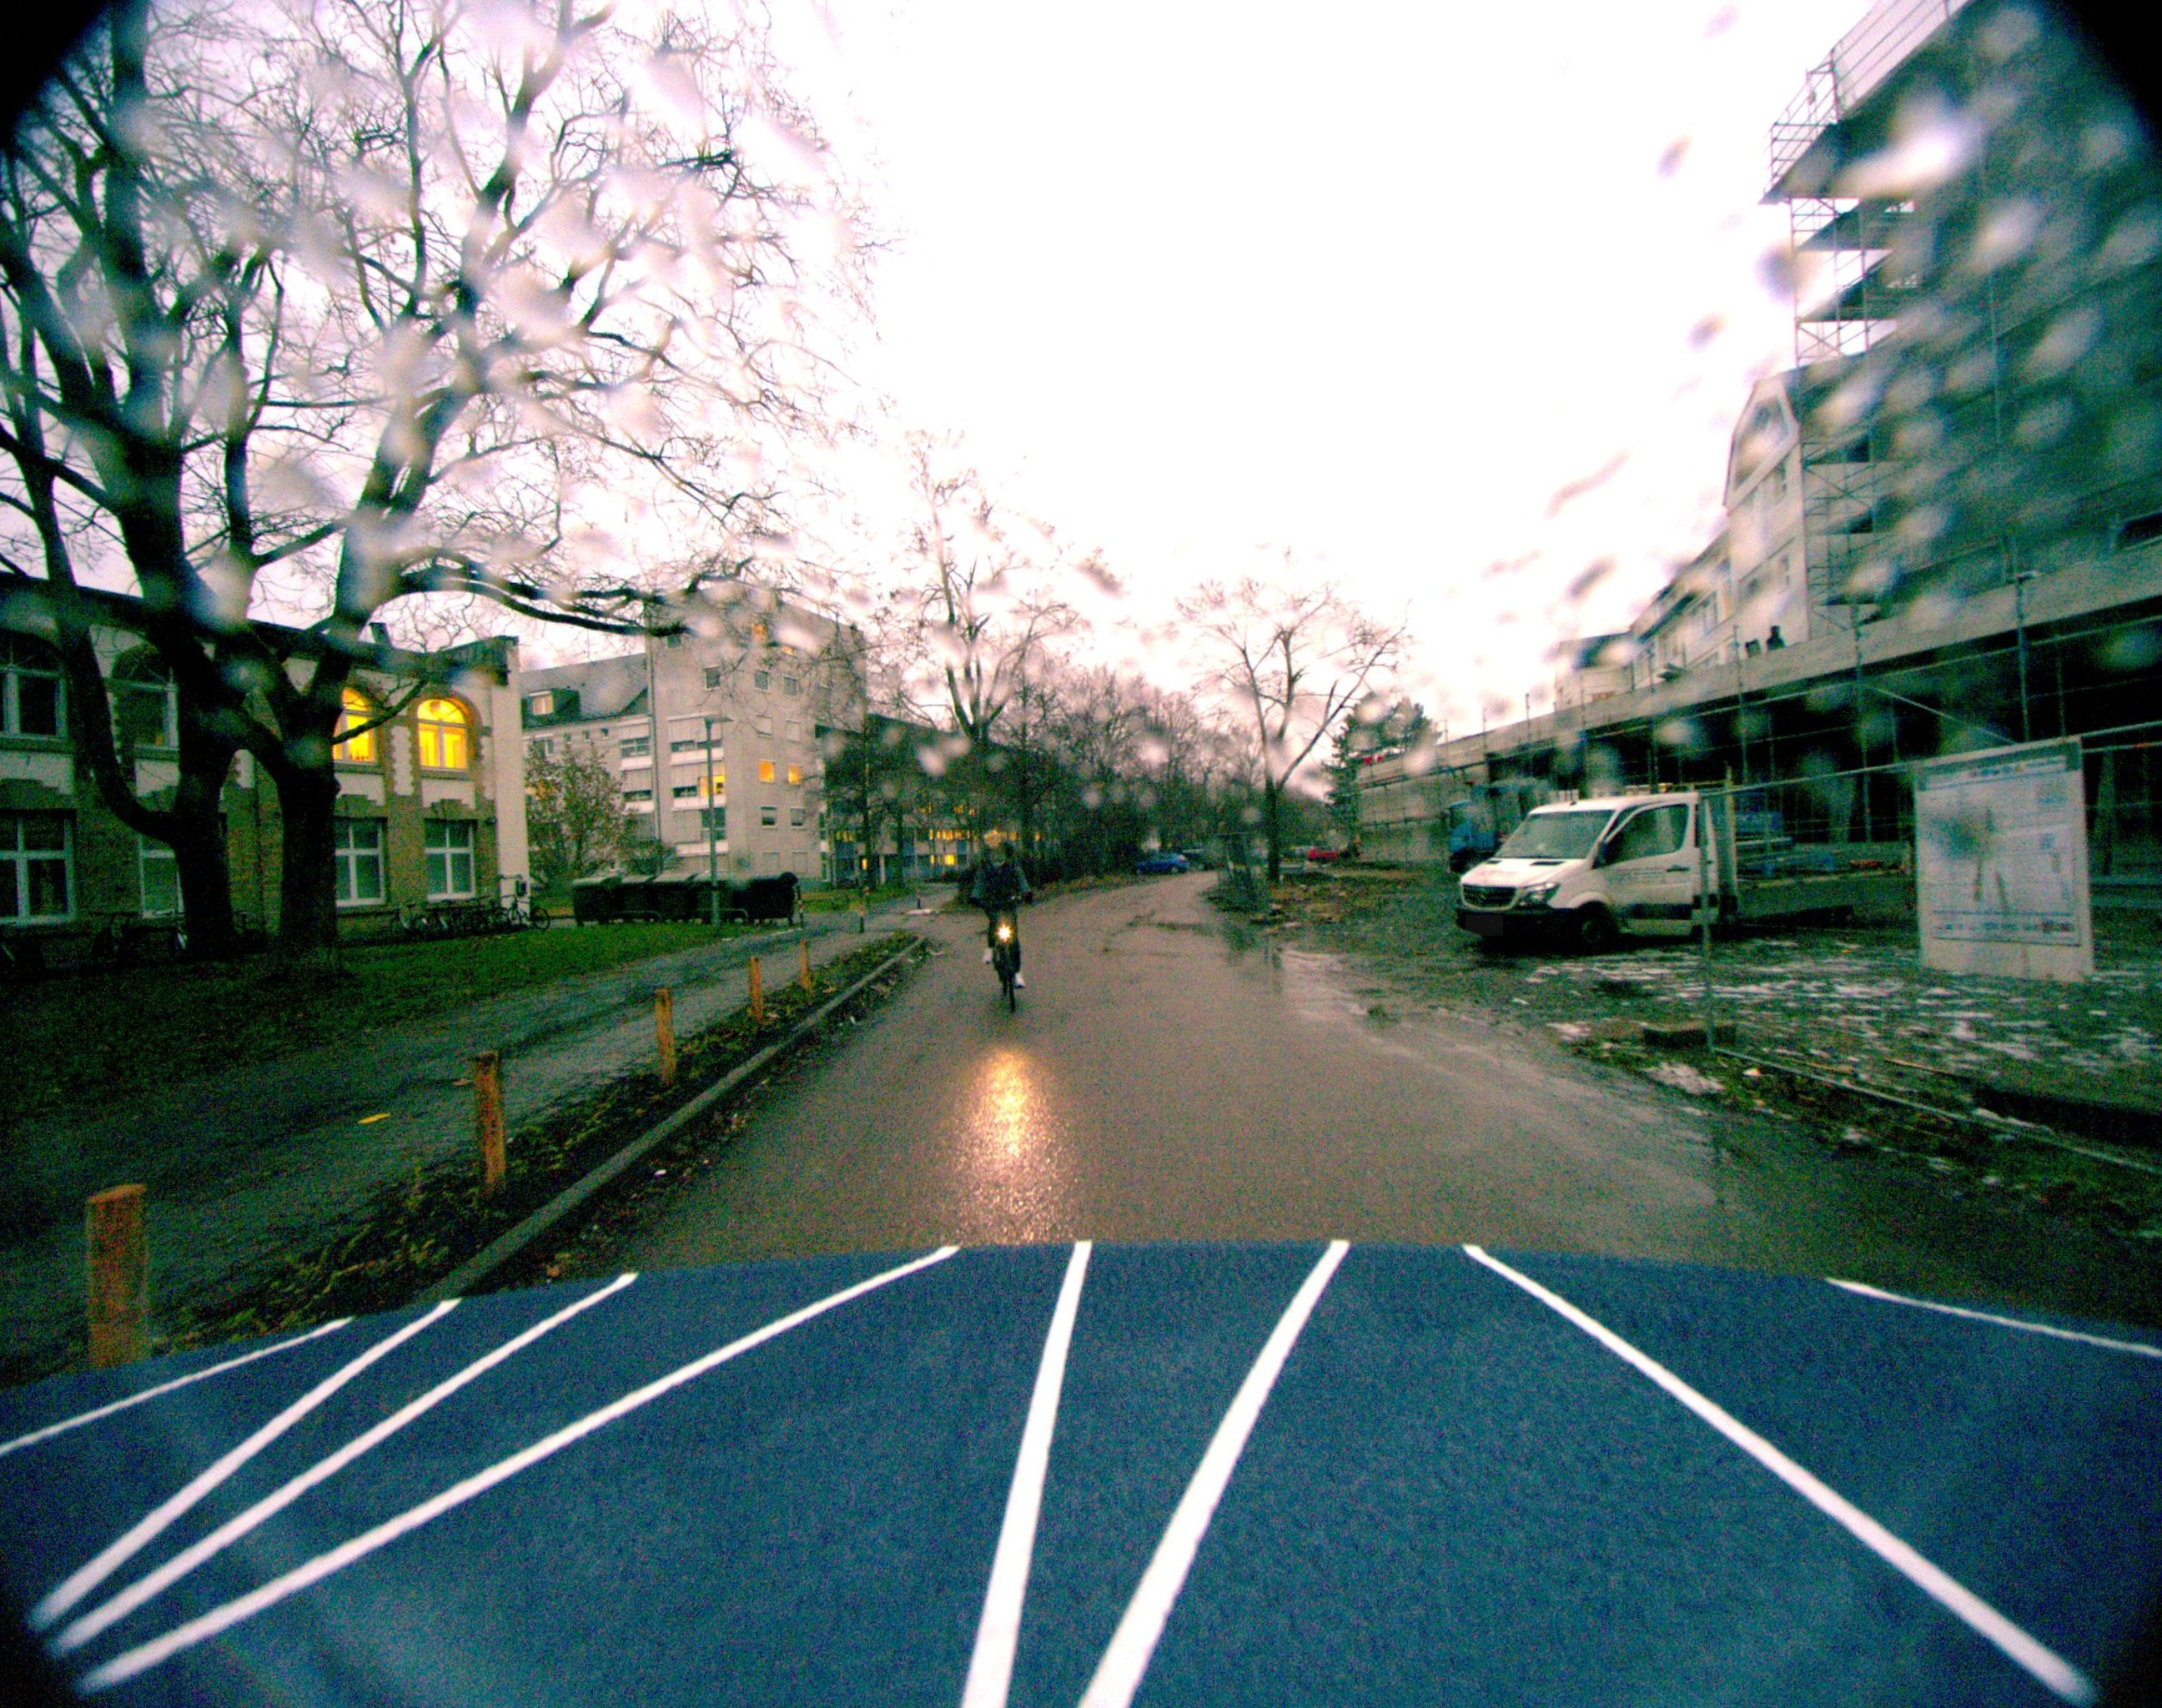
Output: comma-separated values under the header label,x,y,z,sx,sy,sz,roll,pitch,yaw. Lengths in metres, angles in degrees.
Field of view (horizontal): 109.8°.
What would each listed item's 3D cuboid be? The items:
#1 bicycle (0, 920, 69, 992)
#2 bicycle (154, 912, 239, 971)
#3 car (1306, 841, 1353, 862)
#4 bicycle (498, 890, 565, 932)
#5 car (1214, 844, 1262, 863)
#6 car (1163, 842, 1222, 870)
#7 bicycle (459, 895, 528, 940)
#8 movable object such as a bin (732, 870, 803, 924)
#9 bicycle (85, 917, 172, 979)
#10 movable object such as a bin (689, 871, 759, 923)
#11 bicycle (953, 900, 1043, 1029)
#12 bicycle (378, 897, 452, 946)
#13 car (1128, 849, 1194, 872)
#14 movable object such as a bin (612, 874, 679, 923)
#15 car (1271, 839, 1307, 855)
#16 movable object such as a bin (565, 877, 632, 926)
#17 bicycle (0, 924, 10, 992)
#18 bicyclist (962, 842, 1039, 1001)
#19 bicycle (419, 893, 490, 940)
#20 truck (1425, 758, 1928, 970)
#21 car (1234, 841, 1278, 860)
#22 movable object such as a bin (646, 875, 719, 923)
label,x,y,z,sx,sy,sz,roll,pitch,yaw
bicycle,-19.191,1.817,13.777,2.136,1.150,0.574,-2,1,26
bicycle,-18.373,1.785,15.775,2.136,1.104,0.574,-2,1,26
car,19.433,-0.220,59.357,3.302,1.514,1.706,-2,1,22
bicycle,-15.822,1.635,21.881,2.136,1.150,0.574,-2,1,26
car,14.742,-0.070,71.174,3.990,1.652,2.003,-2,1,26
car,8.602,0.132,58.599,3.990,1.980,2.003,-2,1,26
bicycle,-16.237,1.736,20.994,2.136,1.150,0.574,-2,1,26
movable object such as a bin,-8.095,1.104,19.674,1.322,1.309,1.063,-1,1,6
bicycle,-18.726,1.819,14.932,2.136,1.086,0.574,-2,1,26
movable object such as a bin,-9.441,1.133,20.138,1.305,1.306,0.989,-2,1,19
bicycle,-0.876,1.161,8.504,0.730,1.126,1.894,-2,1,1
bicycle,-16.856,1.694,19.210,2.136,1.150,0.574,-2,1,26
car,5.645,0.459,53.405,4.171,1.469,2.004,-2,-2,22
movable object such as a bin,-12.191,1.246,21.295,1.249,1.272,0.989,-2,1,19
car,25.876,-0.831,94.302,3.990,1.786,1.805,-2,1,26
movable object such as a bin,-13.647,1.341,21.514,1.261,1.306,0.989,-2,1,19
bicycle,-19.448,1.814,13.211,2.136,1.150,0.574,-2,1,26
bicyclist,-0.884,0.725,8.513,0.706,1.679,0.771,-2,1,1
bicycle,-16.527,1.641,20.037,2.136,1.150,0.574,-2,1,26
truck,9.324,0.045,12.017,7.082,2.573,2.130,-4,1,-12
car,17.786,-0.370,77.200,3.990,1.786,1.805,-2,1,26
movable object such as a bin,-10.844,1.209,20.681,1.435,1.218,0.989,-2,1,19
